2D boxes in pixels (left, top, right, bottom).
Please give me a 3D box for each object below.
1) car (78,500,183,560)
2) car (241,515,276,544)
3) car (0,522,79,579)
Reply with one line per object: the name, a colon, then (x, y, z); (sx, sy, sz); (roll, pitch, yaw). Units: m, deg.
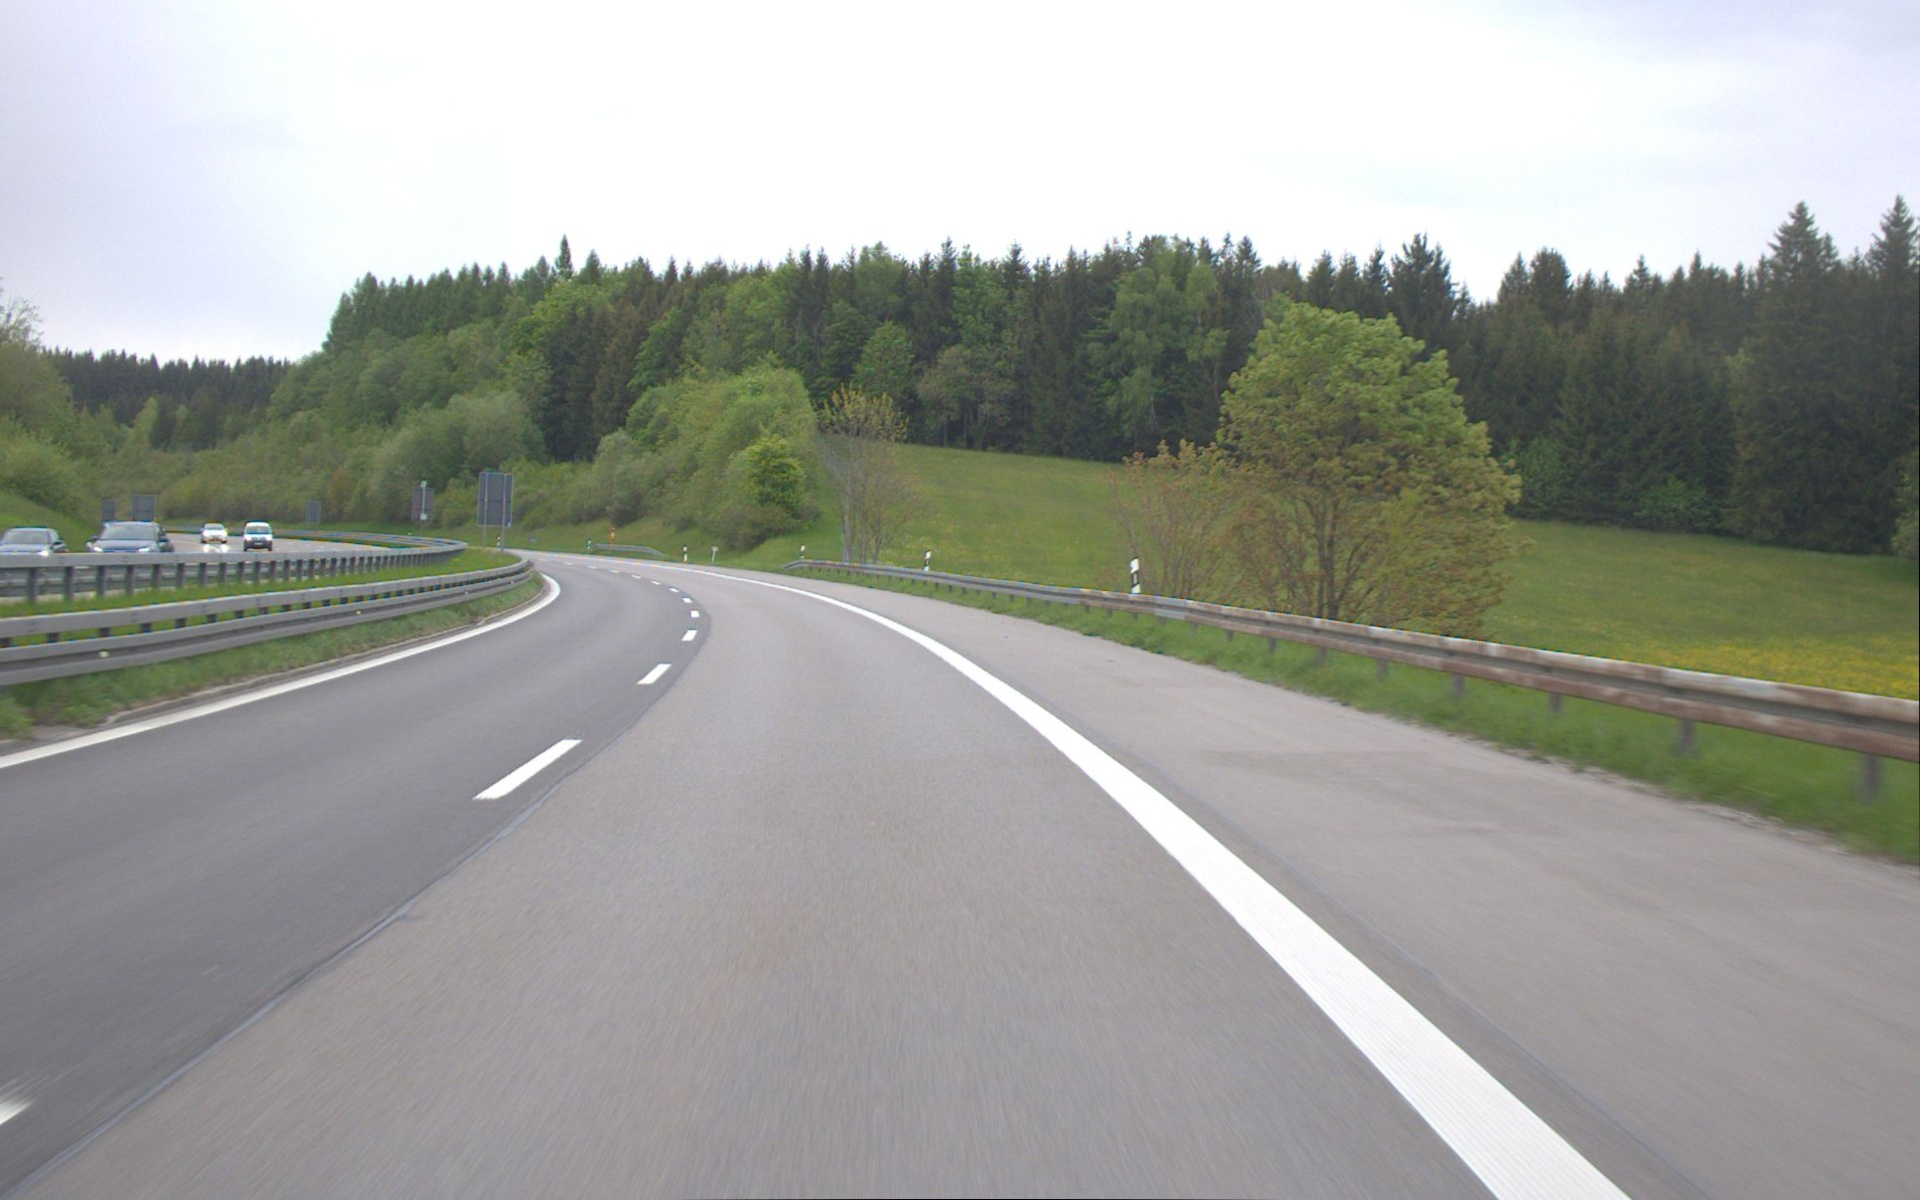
car: (-21.875, -1.862, 90.757); (1.993, 1.412, 4.001); (4, 1, -4)
car: (-44.482, -4.483, 217.938); (1.993, 1.680, 4.628); (3, 1, -13)
car: (-26.648, -1.438, 98.156); (1.993, 1.435, 5.001); (4, 1, -5)
